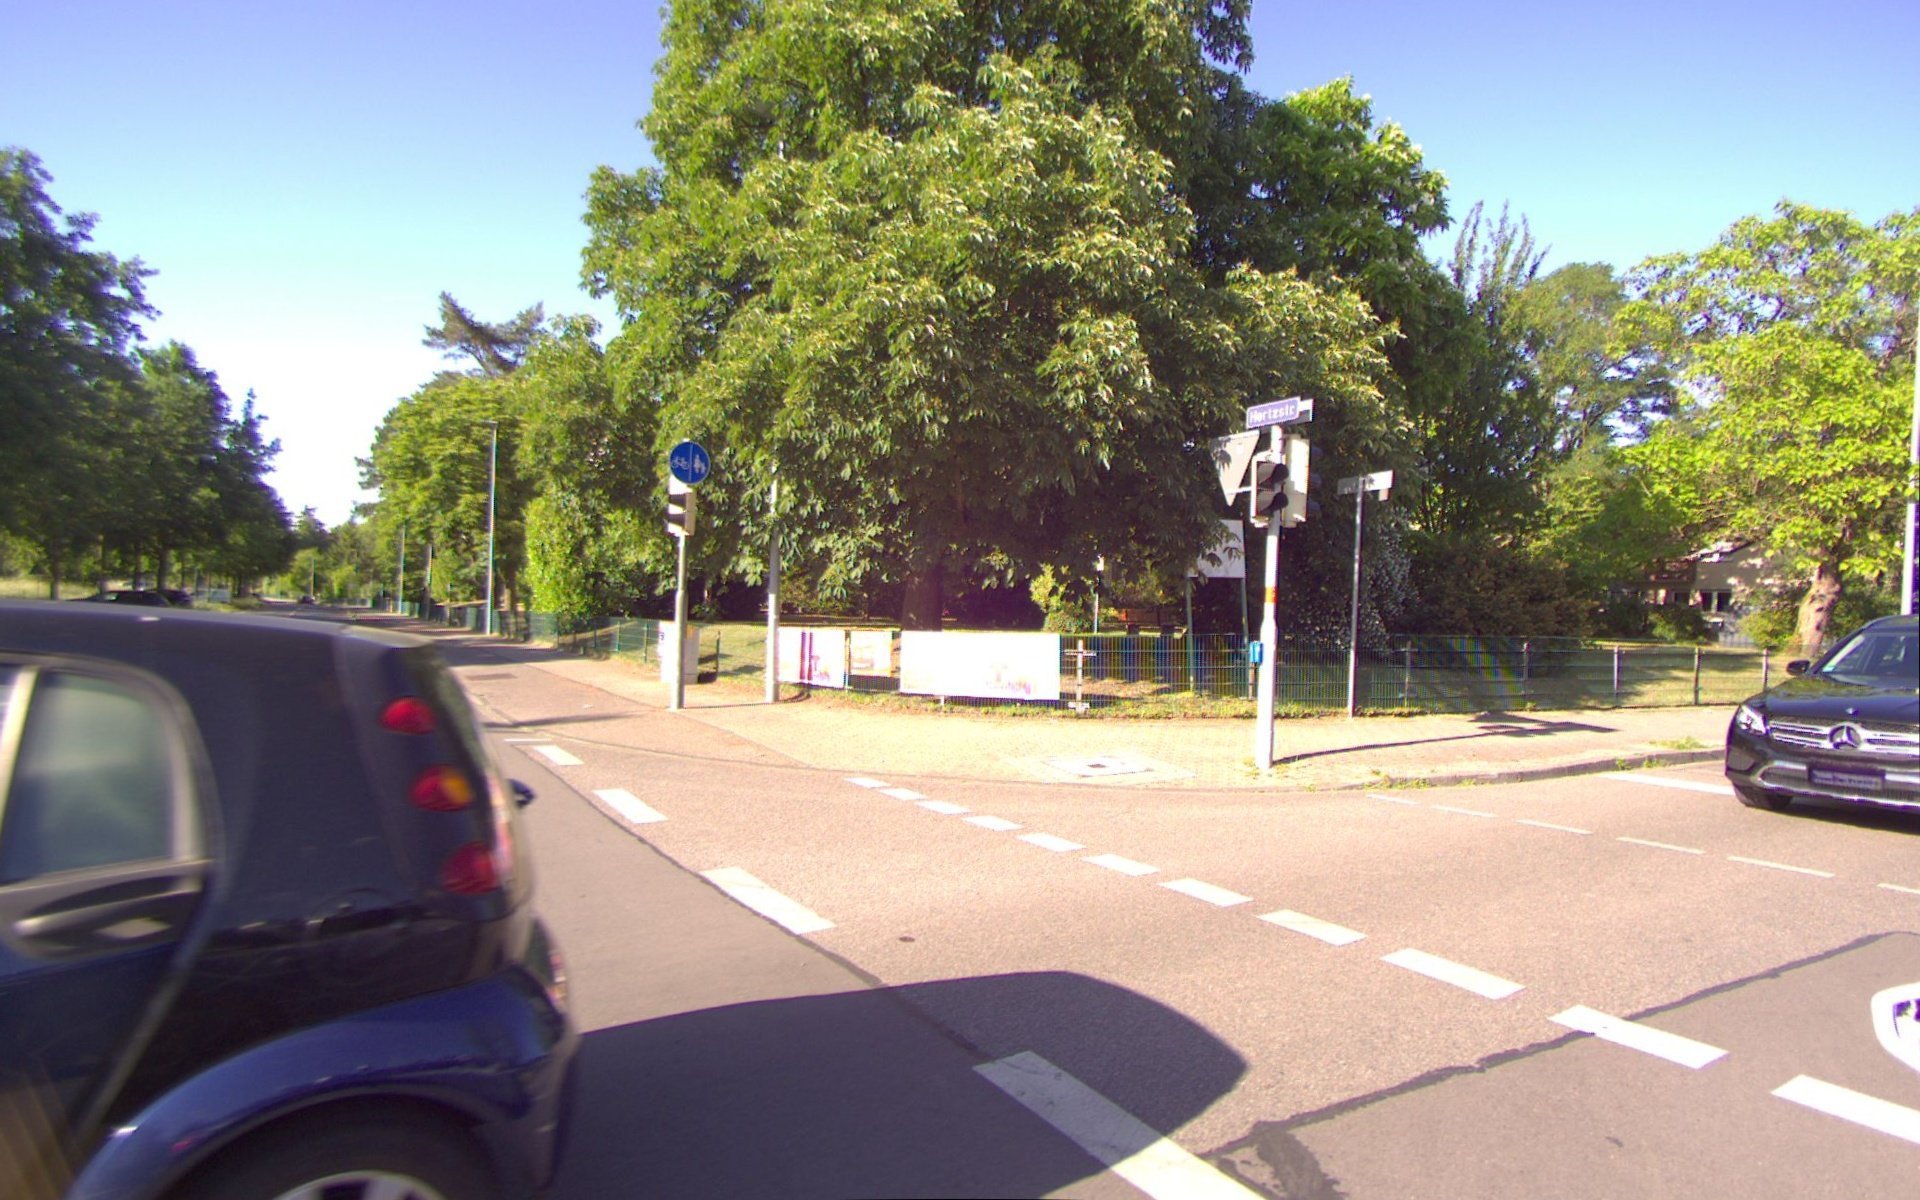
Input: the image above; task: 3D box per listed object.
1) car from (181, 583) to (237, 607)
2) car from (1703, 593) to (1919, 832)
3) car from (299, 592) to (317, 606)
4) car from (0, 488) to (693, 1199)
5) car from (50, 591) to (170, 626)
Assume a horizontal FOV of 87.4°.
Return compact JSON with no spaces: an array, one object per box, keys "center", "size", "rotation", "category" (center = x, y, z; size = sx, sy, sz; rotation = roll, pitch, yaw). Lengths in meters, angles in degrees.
[{"center":[-68.791,-0.460,92.037],"size":[3.958,1.951,1.981],"rotation":[2,2,-34],"category":"car"},{"center":[8.293,0.852,8.354],"size":[4.339,1.639,1.807],"rotation":[2,-2,-29],"category":"car"},{"center":[-104.068,-0.163,160.289],"size":[1.982,2.041,3.956],"rotation":[1,2,-38],"category":"car"},{"center":[-2.598,0.562,1.706],"size":[3.806,1.474,1.797],"rotation":[1,-1,-31],"category":"car"},{"center":[-38.832,0.417,46.024],"size":[3.955,1.441,1.628],"rotation":[2,2,-32],"category":"car"}]
